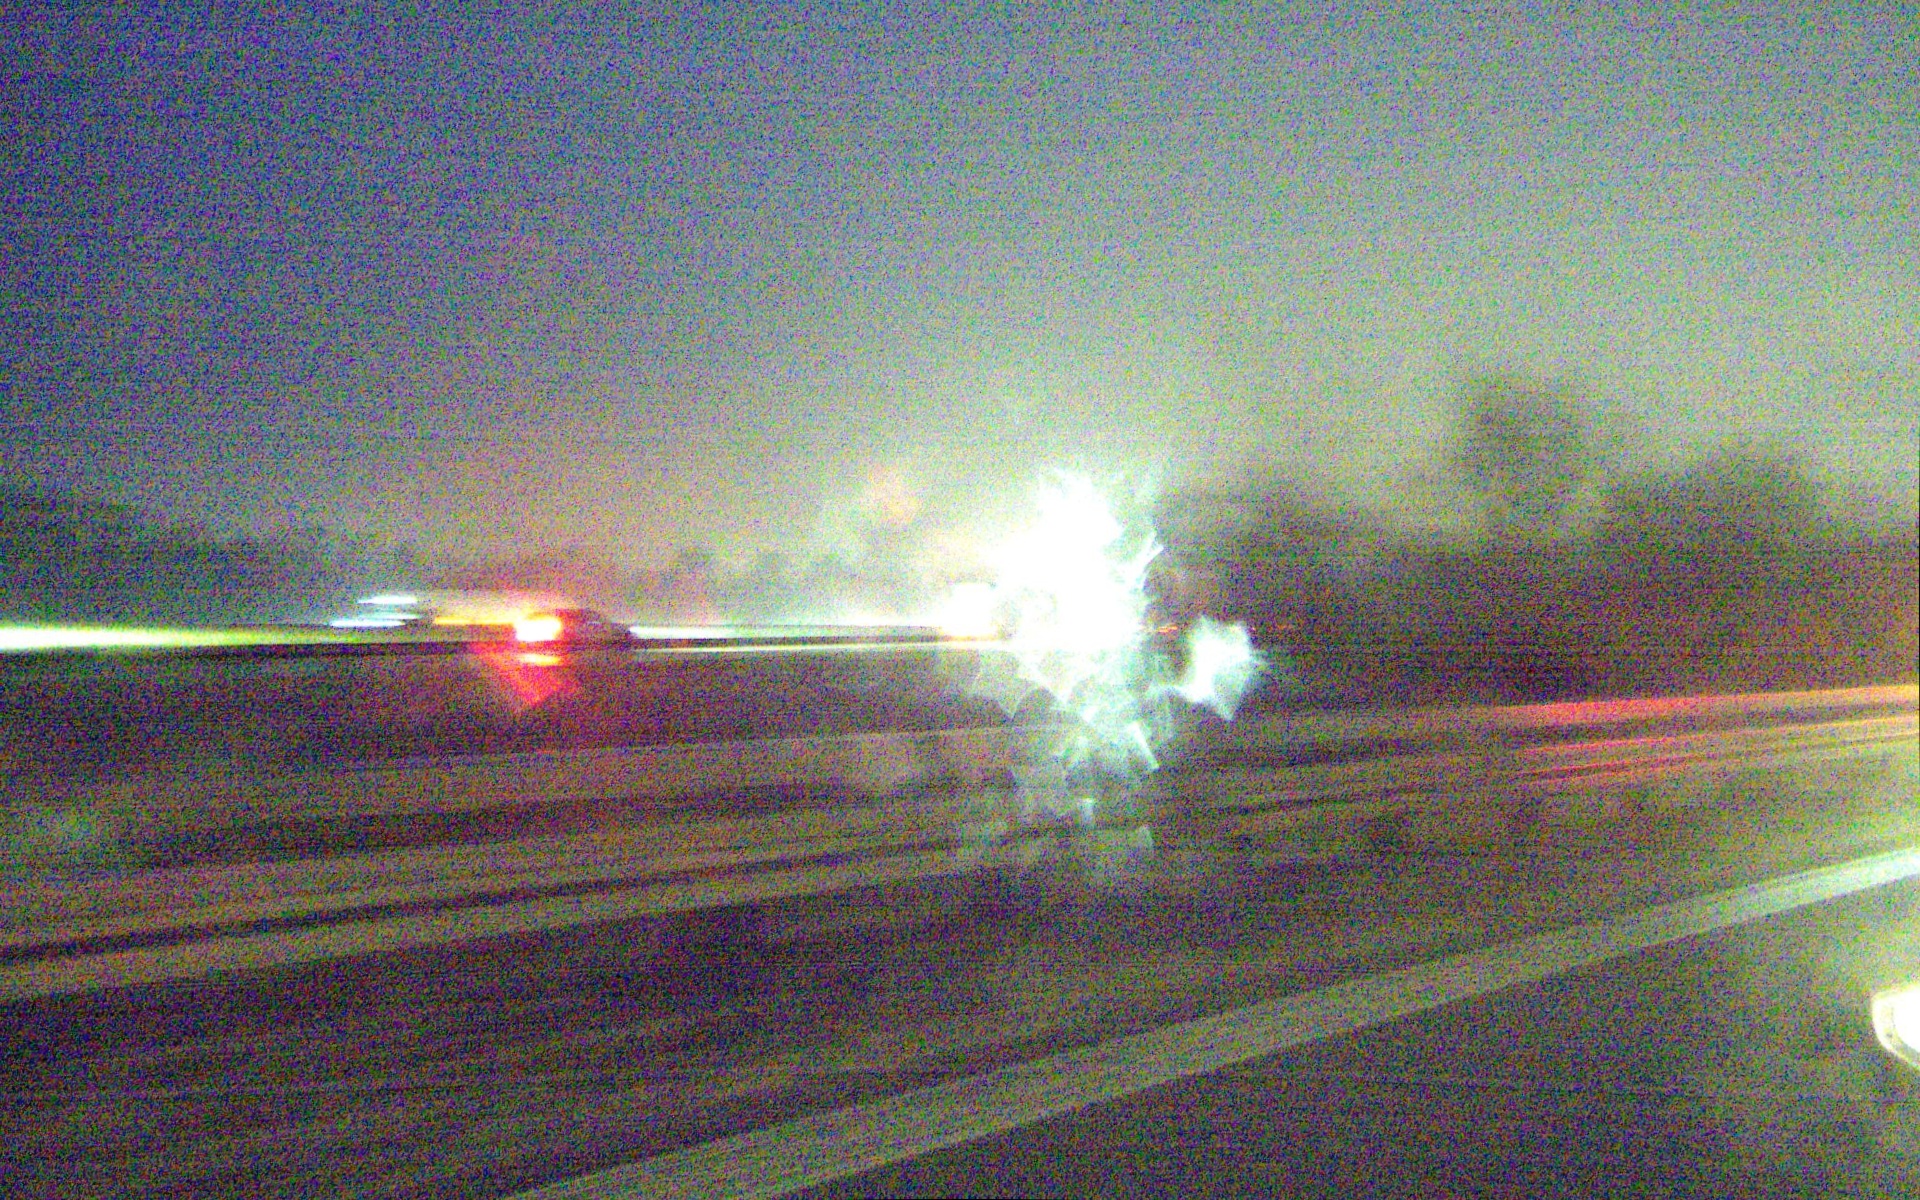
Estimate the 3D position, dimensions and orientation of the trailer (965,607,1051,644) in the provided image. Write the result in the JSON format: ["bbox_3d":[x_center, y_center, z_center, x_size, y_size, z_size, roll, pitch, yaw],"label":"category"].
[{"bbox_3d":[3.615,1.744,71.624,1.964,2.313,9.641,4,2,29],"label":"trailer"}]

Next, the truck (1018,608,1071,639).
[{"bbox_3d":[6.509,1.788,76.692,1.963,2.244,5.531,1,0,28],"label":"truck"}]

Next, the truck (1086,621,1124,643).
[{"bbox_3d":[15.474,3.358,107.101,1.962,2.040,7.248,3,1,25],"label":"truck"}]

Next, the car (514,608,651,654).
[{"bbox_3d":[-14.496,1.185,38.872,1.902,1.636,4.848,1,-1,28],"label":"car"}]
